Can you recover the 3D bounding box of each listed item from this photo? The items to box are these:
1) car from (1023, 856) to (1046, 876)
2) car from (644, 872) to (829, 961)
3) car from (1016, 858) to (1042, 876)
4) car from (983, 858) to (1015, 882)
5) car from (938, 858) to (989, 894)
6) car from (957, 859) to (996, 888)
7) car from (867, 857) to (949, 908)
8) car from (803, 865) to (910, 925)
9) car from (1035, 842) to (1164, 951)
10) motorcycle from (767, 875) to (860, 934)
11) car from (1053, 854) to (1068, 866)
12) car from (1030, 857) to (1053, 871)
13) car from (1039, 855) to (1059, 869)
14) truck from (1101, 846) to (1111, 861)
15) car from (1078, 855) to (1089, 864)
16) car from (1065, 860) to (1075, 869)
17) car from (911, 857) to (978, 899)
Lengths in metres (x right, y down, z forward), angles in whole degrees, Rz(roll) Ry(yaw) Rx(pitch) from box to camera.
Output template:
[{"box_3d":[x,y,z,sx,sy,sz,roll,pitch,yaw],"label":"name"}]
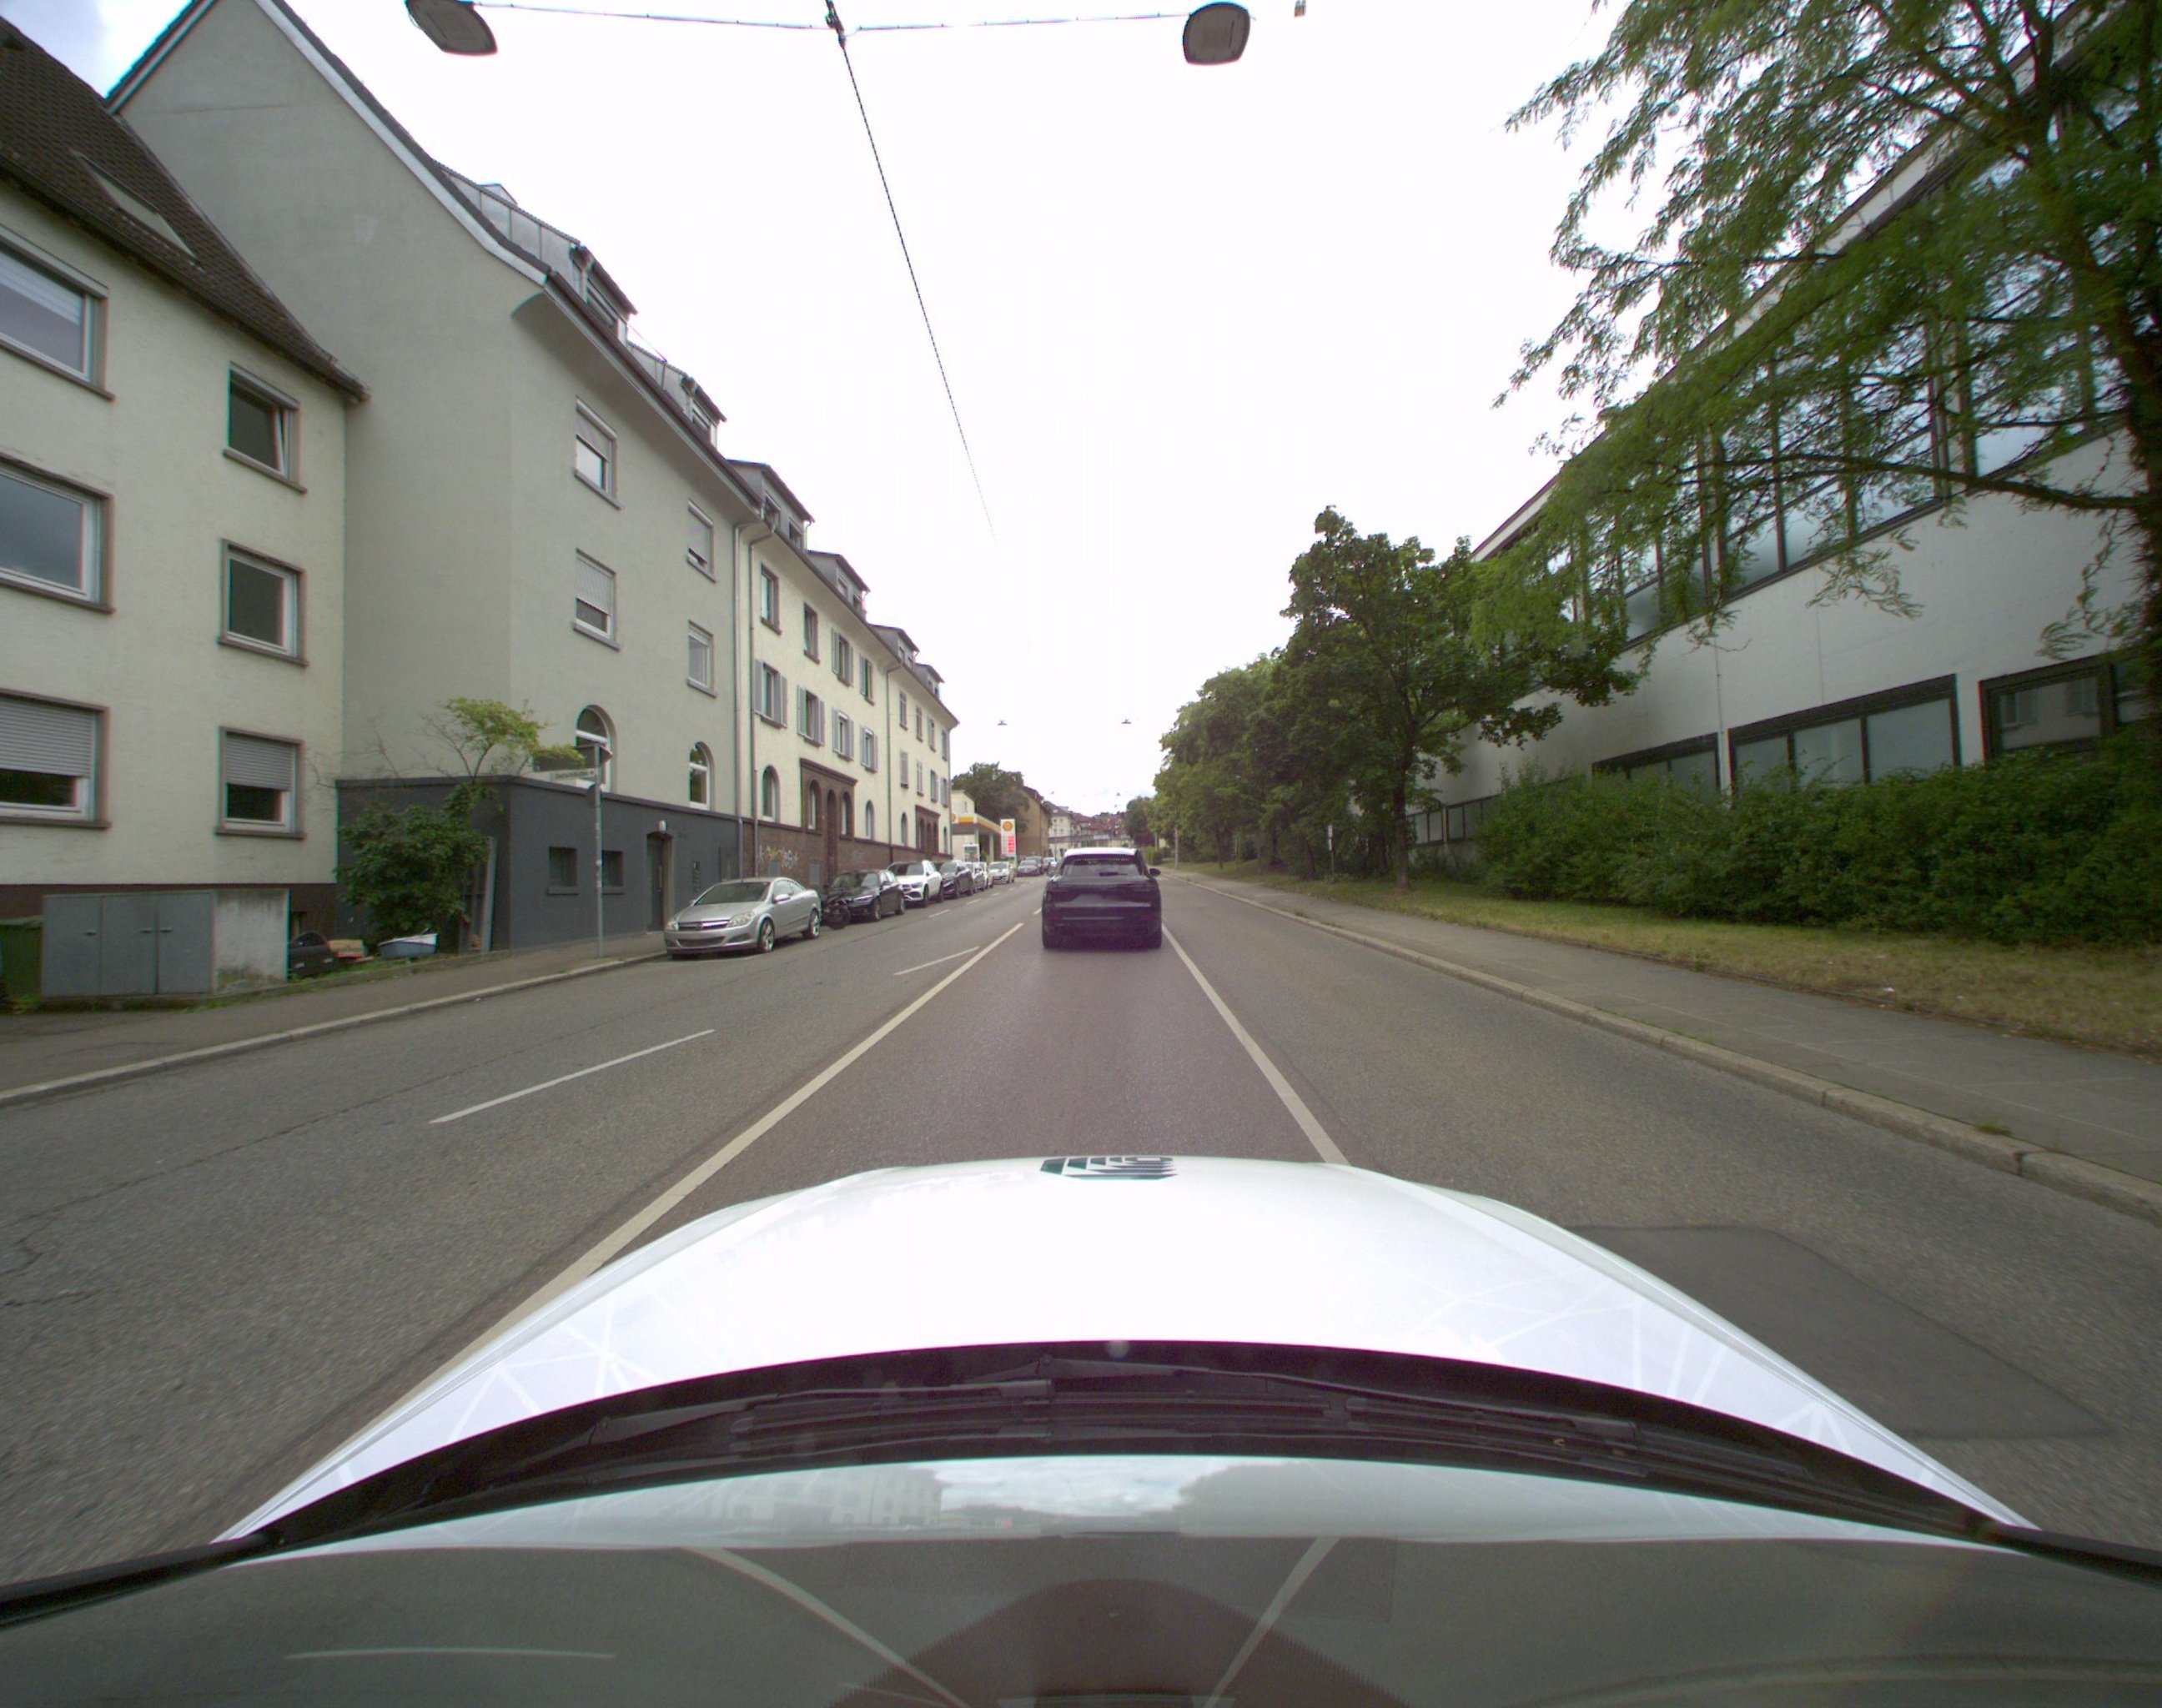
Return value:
[{"box_3d":[-4.468,1.115,78.350,1.845,1.835,4.701,-3,0,0],"label":"car"},{"box_3d":[-6.560,1.111,16.102,1.721,1.374,4.337,-2,0,1],"label":"car"},{"box_3d":[-4.610,1.158,72.495,1.784,1.450,4.220,-3,0,2],"label":"car"},{"box_3d":[-5.426,1.049,54.270,1.613,1.425,3.667,-2,0,2],"label":"car"},{"box_3d":[-5.734,1.028,40.142,1.721,1.558,4.082,-4,-1,1],"label":"car"},{"box_3d":[-5.764,1.055,45.078,1.542,1.475,3.605,-2,0,2],"label":"car"},{"box_3d":[-6.179,0.973,29.662,1.839,1.621,4.644,-2,0,1],"label":"car"},{"box_3d":[-6.255,1.099,23.215,1.720,1.429,4.193,-2,0,2],"label":"car"},{"box_3d":[0.373,0.656,14.658,1.986,1.662,4.002,-1,0,2],"label":"car"},{"box_3d":[-6.439,1.199,19.711,2.045,1.235,0.803,-4,0,-16],"label":"motorcycle"},{"box_3d":[-2.967,0.884,120.637,1.775,1.609,4.268,-4,-1,3],"label":"car"},{"box_3d":[-4.307,1.051,89.398,1.789,1.431,4.749,-3,0,4],"label":"car"},{"box_3d":[-3.863,0.979,98.747,1.907,1.577,4.702,-2,0,3],"label":"car"},{"box_3d":[5.810,-0.077,188.547,2.258,3.424,9.881,-2,-1,2],"label":"truck"},{"box_3d":[0.428,1.026,143.922,1.791,1.525,4.002,-3,0,2],"label":"car"},{"box_3d":[-2.017,1.895,150.847,1.740,1.568,3.907,-3,-1,0],"label":"car"},{"box_3d":[-5.760,0.982,34.910,1.719,1.599,4.507,-2,0,4],"label":"car"}]
